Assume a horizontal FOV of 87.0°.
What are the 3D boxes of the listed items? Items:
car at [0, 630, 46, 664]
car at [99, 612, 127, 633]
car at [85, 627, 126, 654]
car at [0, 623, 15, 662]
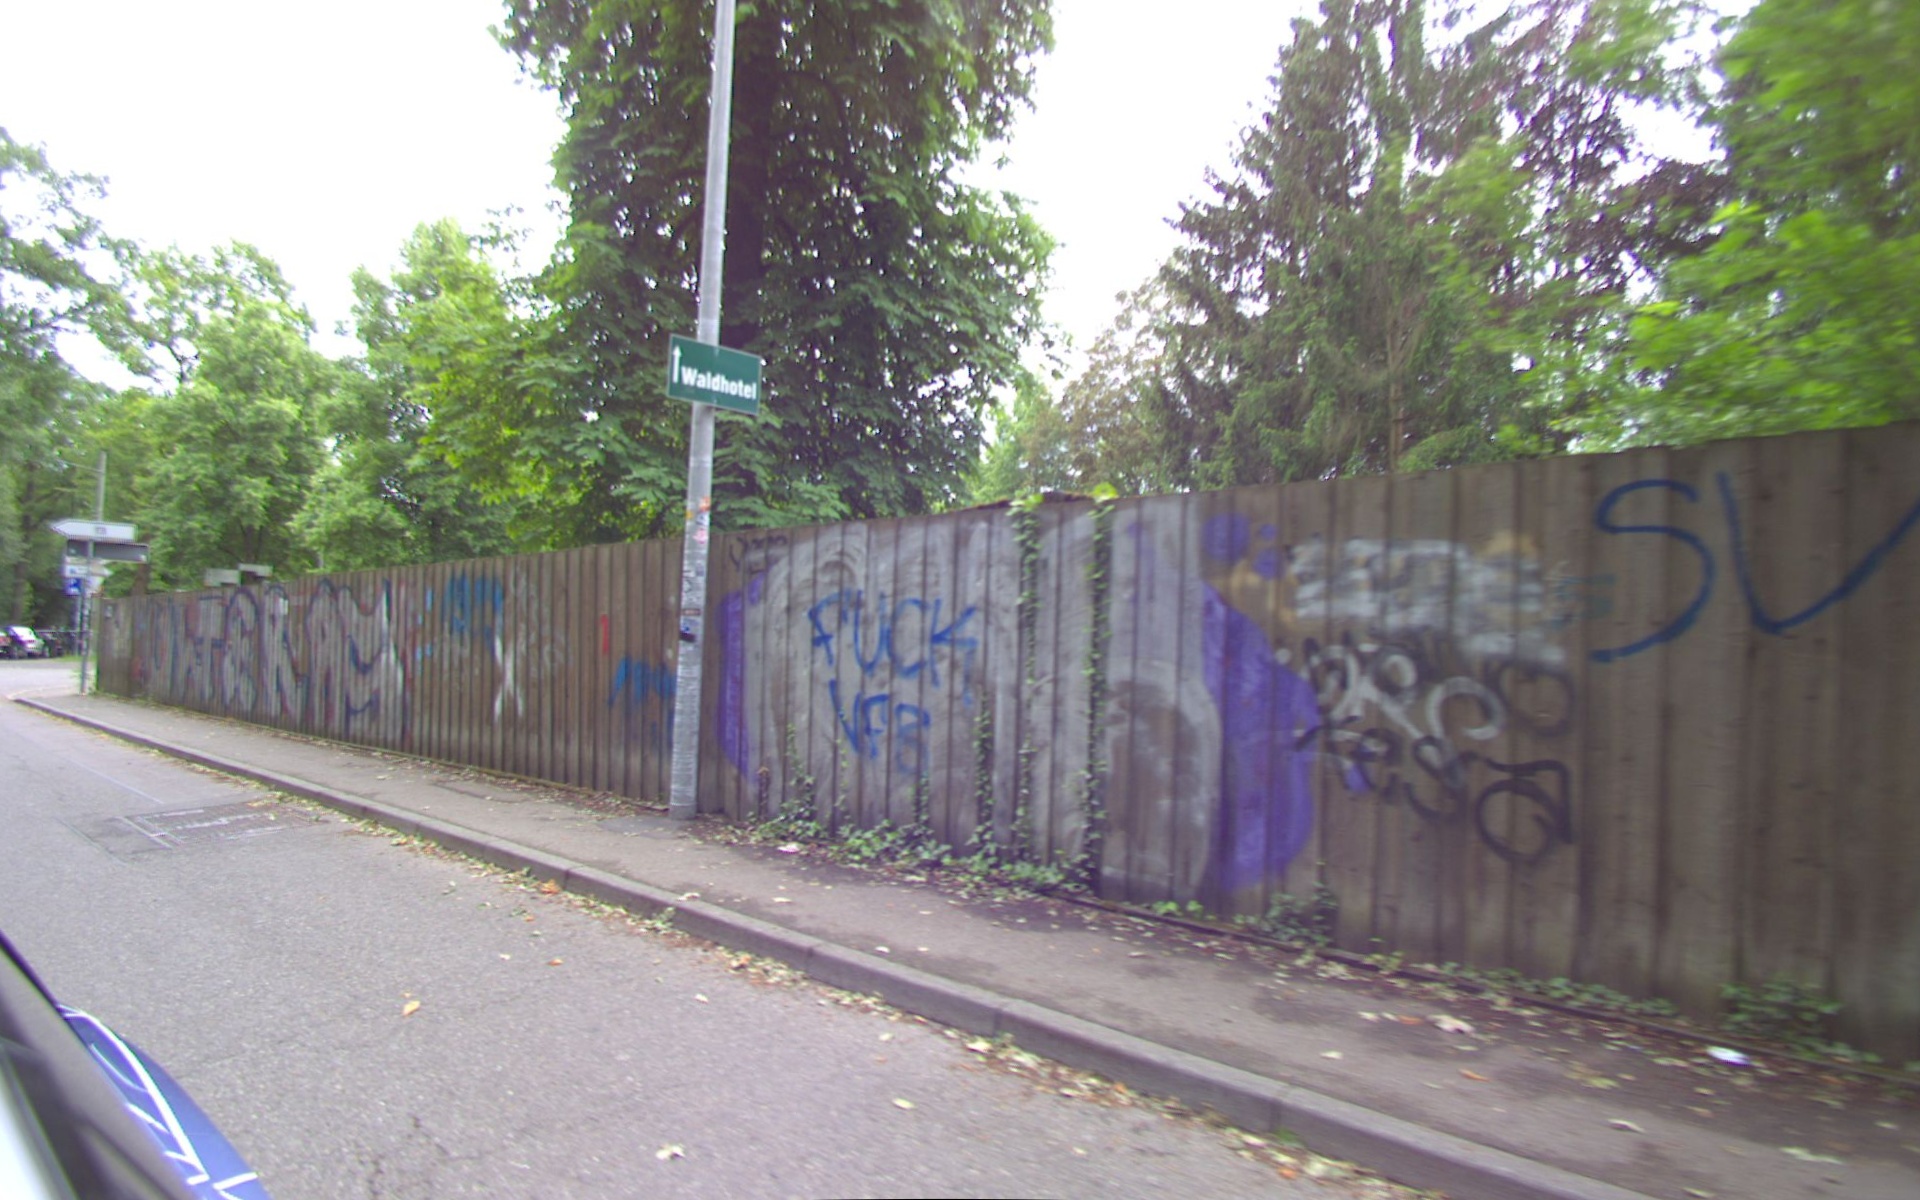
[{"bbox_3d":[-41.773,2.078,44.481,1.967,1.431,4.008,2,-4,-37],"label":"car"},{"bbox_3d":[-106.018,2.848,126.694,2.540,2.554,4.945,3,-3,-39],"label":"car"},{"bbox_3d":[-56.651,2.697,67.101,1.928,1.631,3.645,5,-4,-40],"label":"car"},{"bbox_3d":[-39.148,1.729,40.268,1.743,1.506,4.336,2,-4,-37],"label":"car"}]
